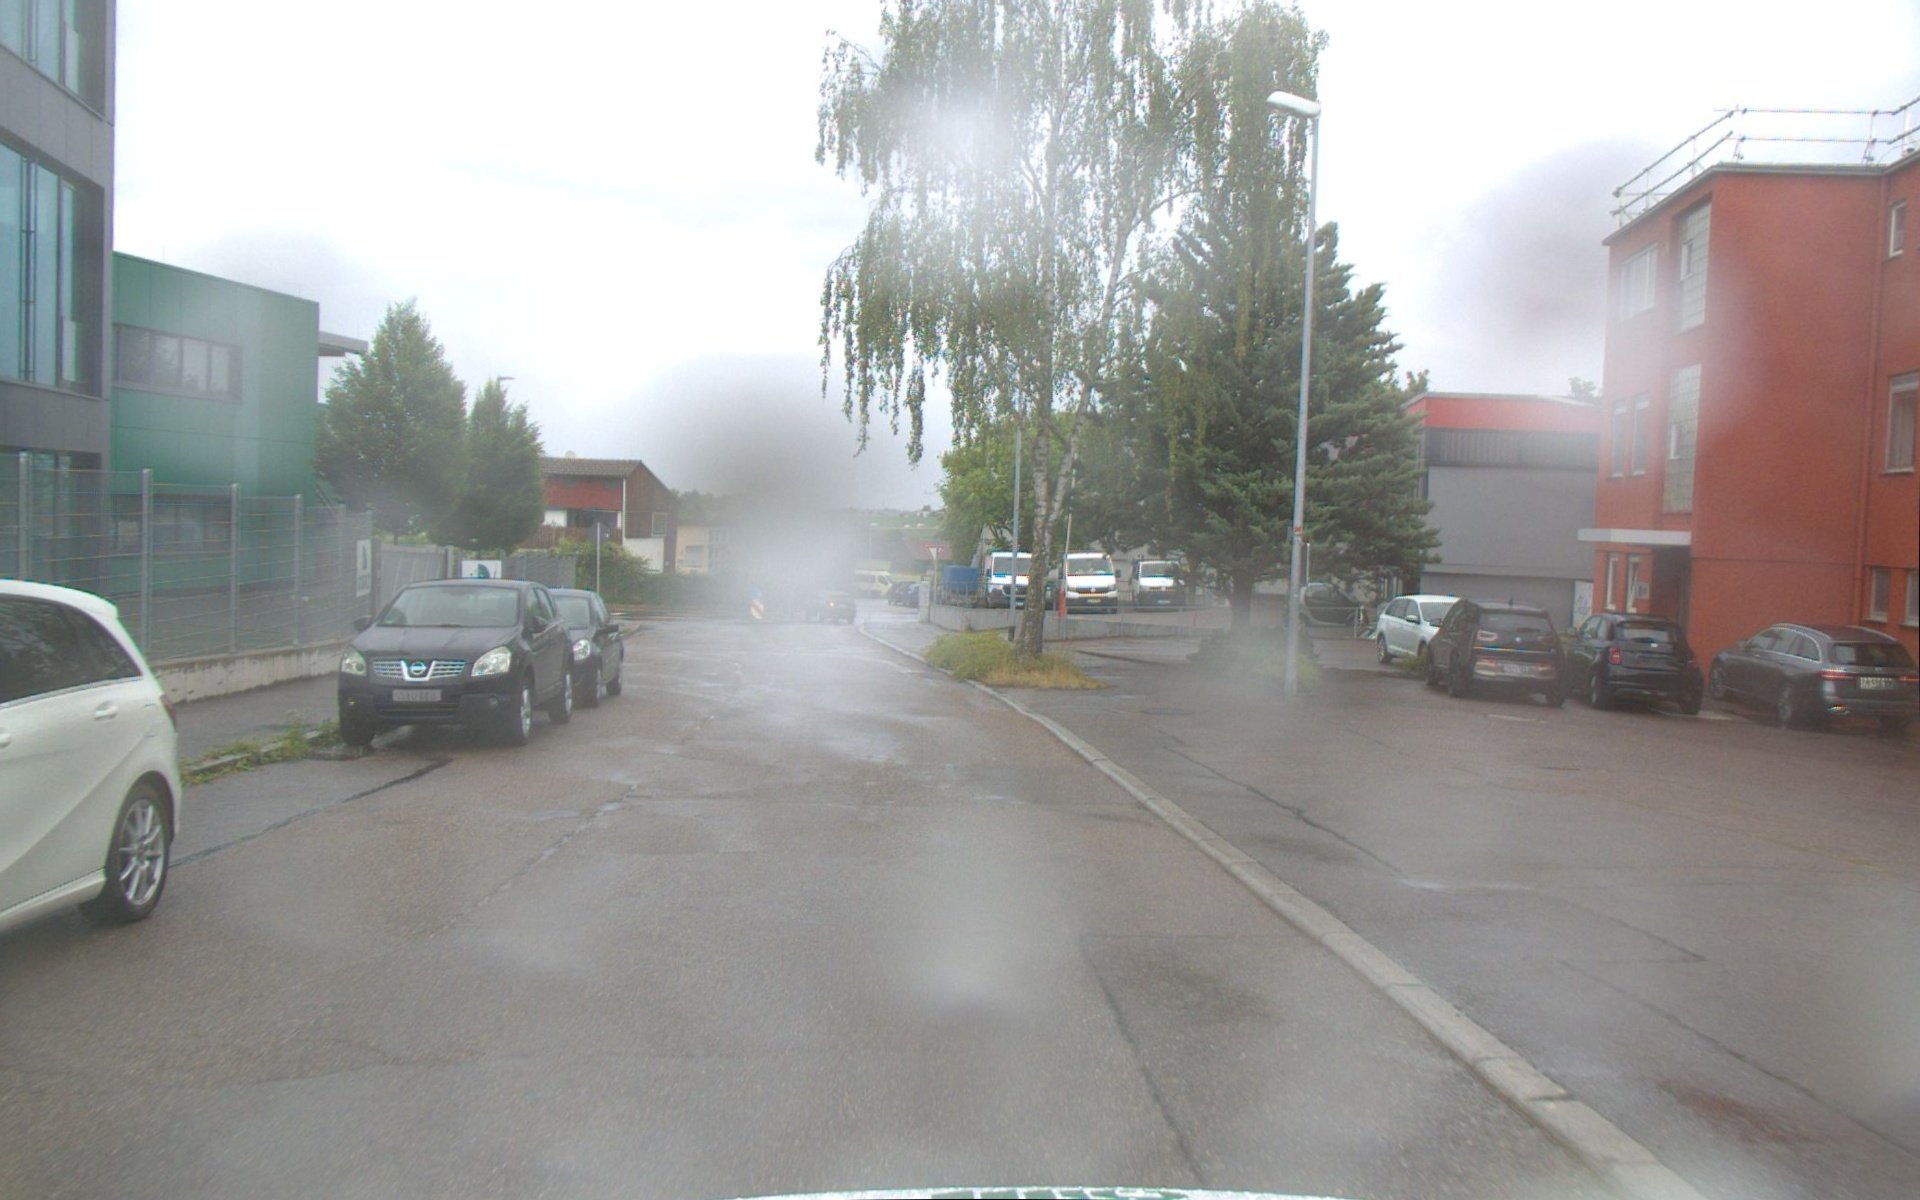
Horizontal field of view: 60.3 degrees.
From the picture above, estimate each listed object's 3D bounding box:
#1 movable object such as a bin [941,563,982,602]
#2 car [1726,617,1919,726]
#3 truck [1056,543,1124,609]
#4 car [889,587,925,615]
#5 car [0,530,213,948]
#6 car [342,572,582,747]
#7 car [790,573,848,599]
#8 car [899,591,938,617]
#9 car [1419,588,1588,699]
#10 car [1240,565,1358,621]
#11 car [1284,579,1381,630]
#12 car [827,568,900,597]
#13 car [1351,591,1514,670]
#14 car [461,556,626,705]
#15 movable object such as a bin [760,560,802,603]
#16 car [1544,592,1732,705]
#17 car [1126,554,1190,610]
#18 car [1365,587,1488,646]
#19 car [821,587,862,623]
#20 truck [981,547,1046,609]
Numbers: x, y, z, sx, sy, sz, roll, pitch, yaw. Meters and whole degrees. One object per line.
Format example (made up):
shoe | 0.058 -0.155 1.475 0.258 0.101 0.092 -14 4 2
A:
movable object such as a bin | 0.053 -0.714 66.562 1.283 1.526 1.854 1 0 -11
car | 14.234 1.097 26.926 1.928 1.474 4.515 3 1 8
truck | 4.957 -0.904 63.708 2.196 2.382 4.837 1 0 0
car | -3.748 0.052 116.145 2.035 1.867 4.461 1 0 -9
car | -4.411 0.500 5.955 1.701 1.563 4.247 1 0 -4
car | -5.048 0.539 17.284 1.601 1.585 4.079 1 0 -6
car | -10.876 -1.095 127.542 4.325 1.938 1.991 1 0 38
car | -2.777 0.224 109.999 1.916 1.638 4.436 1 0 -10
car | 9.023 0.658 27.841 1.953 1.606 4.515 3 1 9
car | 11.644 -0.251 56.992 3.841 1.768 1.860 -1 2 7
car | 11.174 0.129 49.786 2.654 1.472 1.679 0 0 6
car | -8.445 -1.544 145.218 5.882 2.457 2.465 1 0 16
car | 9.782 0.591 34.580 1.866 1.496 4.325 0 1 -5
car | -5.572 0.363 22.542 1.706 1.829 3.952 1 0 -8
movable object such as a bin | -11.229 -1.165 103.989 1.696 2.601 3.342 1 0 10
car | 11.407 0.747 28.159 1.947 1.708 4.515 2 0 9
car | 7.668 -0.701 64.544 2.014 2.049 4.940 1 0 2
car | 12.875 0.441 45.807 2.971 1.521 1.630 1 0 3
car | -5.425 0.192 75.420 1.721 1.561 3.995 1 0 -6
truck | 2.031 -0.831 64.090 2.063 2.252 5.650 1 0 -3
